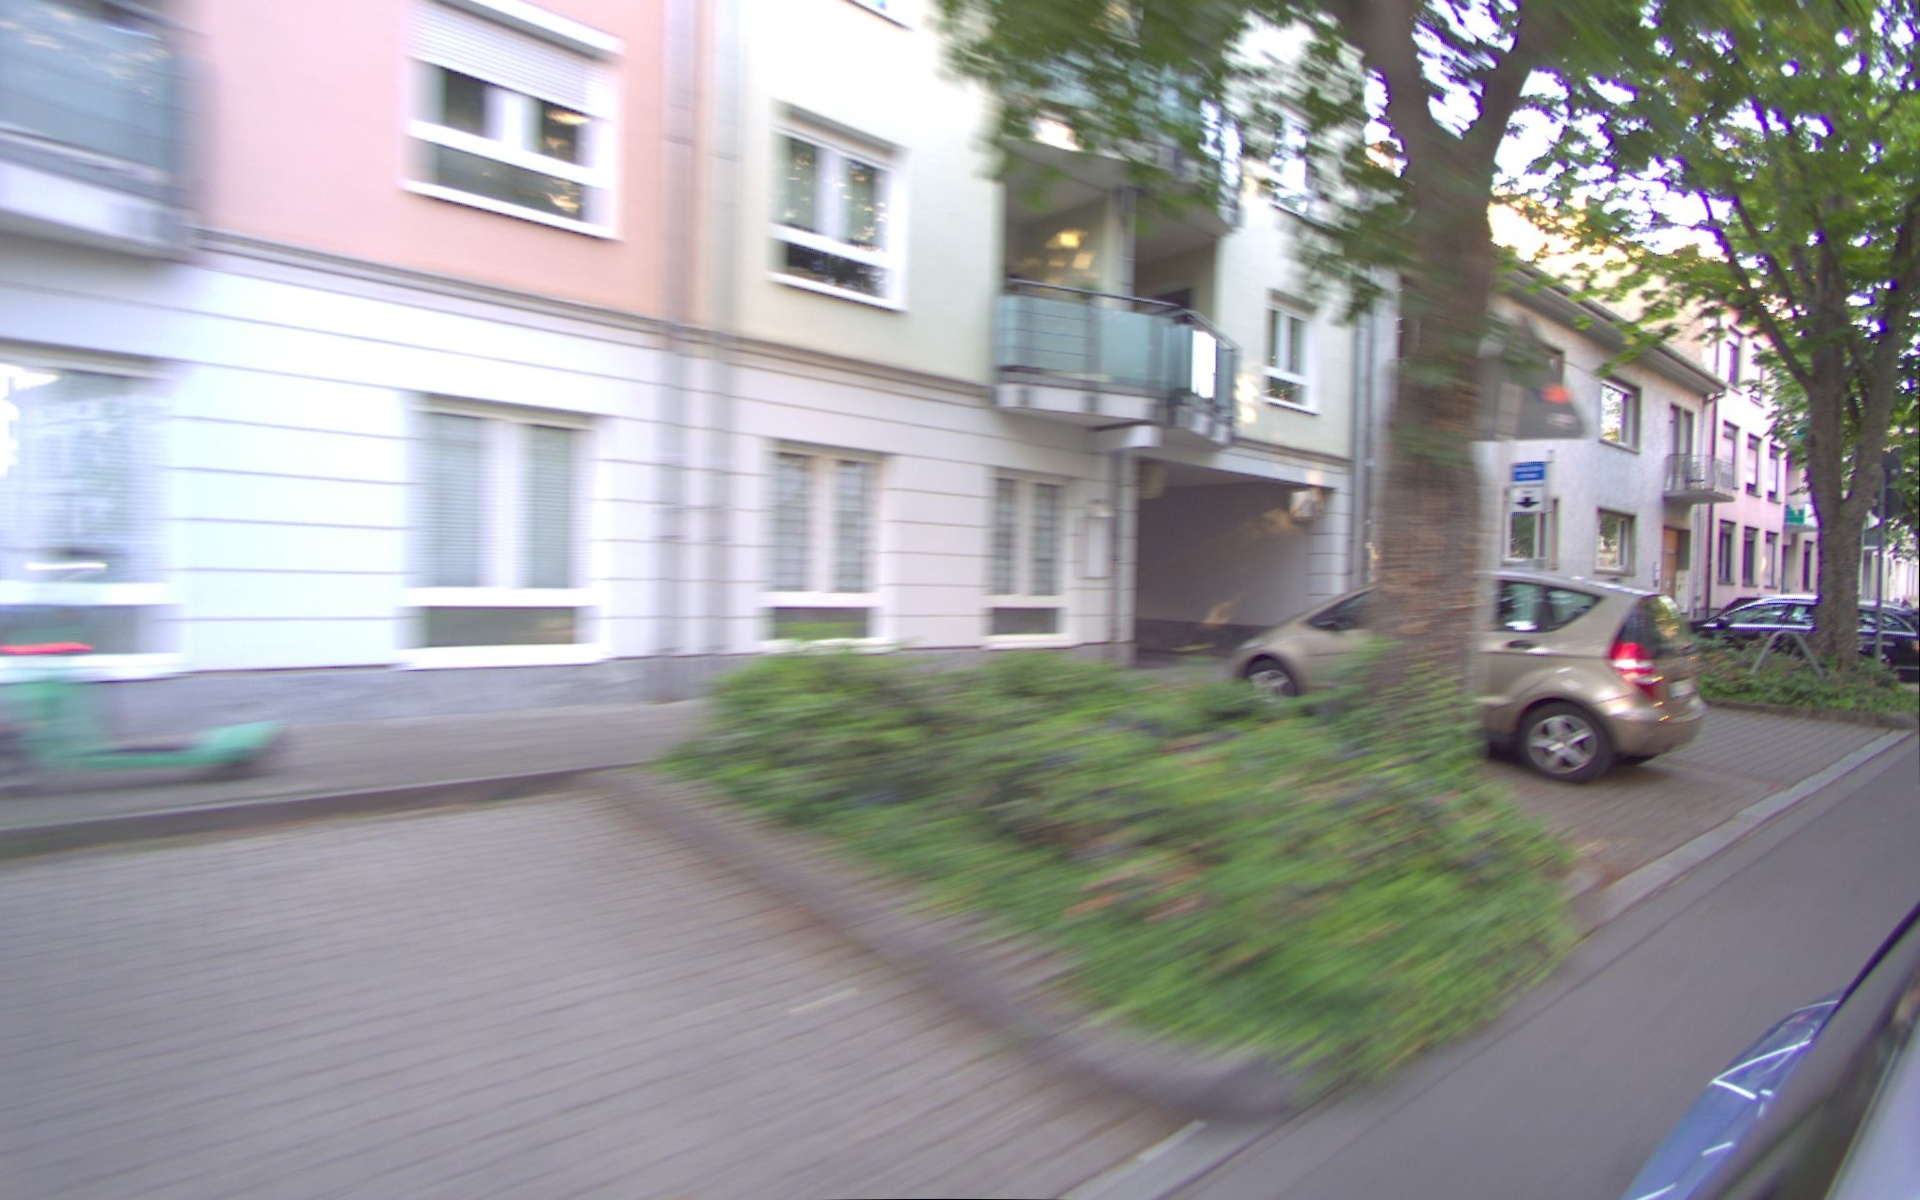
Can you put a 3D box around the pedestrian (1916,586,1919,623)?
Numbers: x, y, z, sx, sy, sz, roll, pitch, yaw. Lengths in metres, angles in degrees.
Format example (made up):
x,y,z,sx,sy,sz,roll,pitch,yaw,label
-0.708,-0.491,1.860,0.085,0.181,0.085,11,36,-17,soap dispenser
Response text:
x,y,z,sx,sy,sz,roll,pitch,yaw,label
52.967,0.258,55.689,0.476,2.038,0.449,1,1,-40,pedestrian

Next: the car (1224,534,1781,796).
x,y,z,sx,sy,sz,roll,pitch,yaw,label
4.572,0.354,8.996,1.892,1.687,3.872,0,4,-40,car

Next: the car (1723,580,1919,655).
x,y,z,sx,sy,sz,roll,pitch,yaw,label
20.777,0.378,23.578,1.916,1.542,4.458,1,2,-39,car

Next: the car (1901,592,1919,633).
x,y,z,sx,sy,sz,roll,pitch,yaw,label
36.165,0.558,35.954,1.647,1.415,3.854,0,3,-43,car

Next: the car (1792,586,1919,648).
x,y,z,sx,sy,sz,roll,pitch,yaw,label
25.624,0.501,27.314,1.665,1.488,4.597,1,3,-38,car

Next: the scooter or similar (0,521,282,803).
x,y,z,sx,sy,sz,roll,pitch,yaw,label
-4.071,0.271,4.932,1.231,1.256,0.400,0,1,-41,scooter or similar

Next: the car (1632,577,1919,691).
x,y,z,sx,sy,sz,roll,pitch,yaw,label
14.331,0.502,17.294,1.698,1.487,4.375,1,4,-35,car
